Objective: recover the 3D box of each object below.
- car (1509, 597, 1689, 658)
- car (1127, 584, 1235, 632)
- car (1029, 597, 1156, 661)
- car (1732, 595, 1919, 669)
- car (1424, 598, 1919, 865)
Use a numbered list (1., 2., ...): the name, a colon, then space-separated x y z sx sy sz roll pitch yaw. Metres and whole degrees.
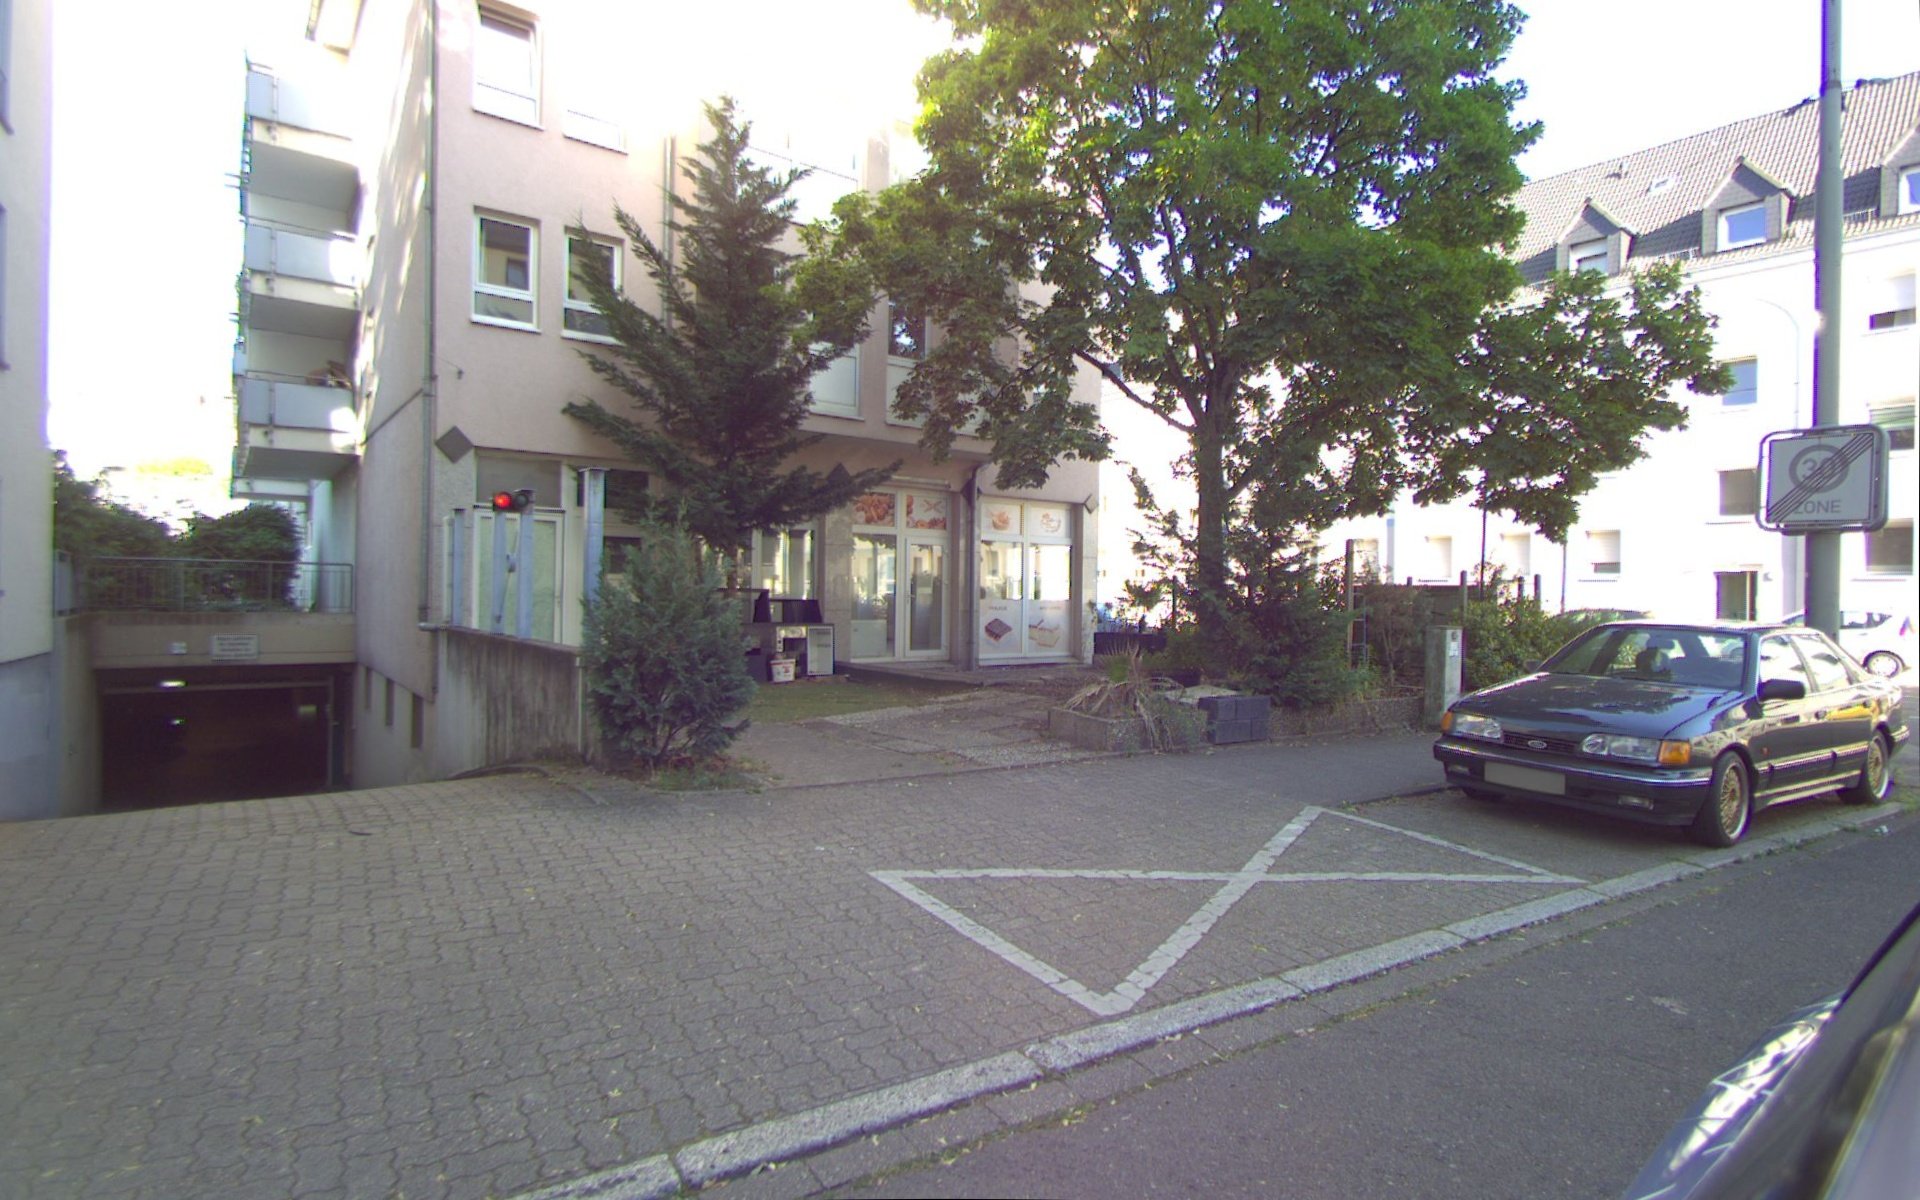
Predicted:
1. car: 17.664 0.795 28.115 1.620 1.527 3.872 1 -3 -39
2. car: 8.627 0.299 39.799 1.663 1.804 3.997 1 0 -38
3. car: 3.082 0.645 23.851 1.242 1.373 2.874 -1 1 -43
4. car: 20.812 0.714 24.029 1.620 1.627 3.702 1 0 -39
5. car: 5.638 0.763 7.687 4.419 1.424 1.668 0 3 -33
